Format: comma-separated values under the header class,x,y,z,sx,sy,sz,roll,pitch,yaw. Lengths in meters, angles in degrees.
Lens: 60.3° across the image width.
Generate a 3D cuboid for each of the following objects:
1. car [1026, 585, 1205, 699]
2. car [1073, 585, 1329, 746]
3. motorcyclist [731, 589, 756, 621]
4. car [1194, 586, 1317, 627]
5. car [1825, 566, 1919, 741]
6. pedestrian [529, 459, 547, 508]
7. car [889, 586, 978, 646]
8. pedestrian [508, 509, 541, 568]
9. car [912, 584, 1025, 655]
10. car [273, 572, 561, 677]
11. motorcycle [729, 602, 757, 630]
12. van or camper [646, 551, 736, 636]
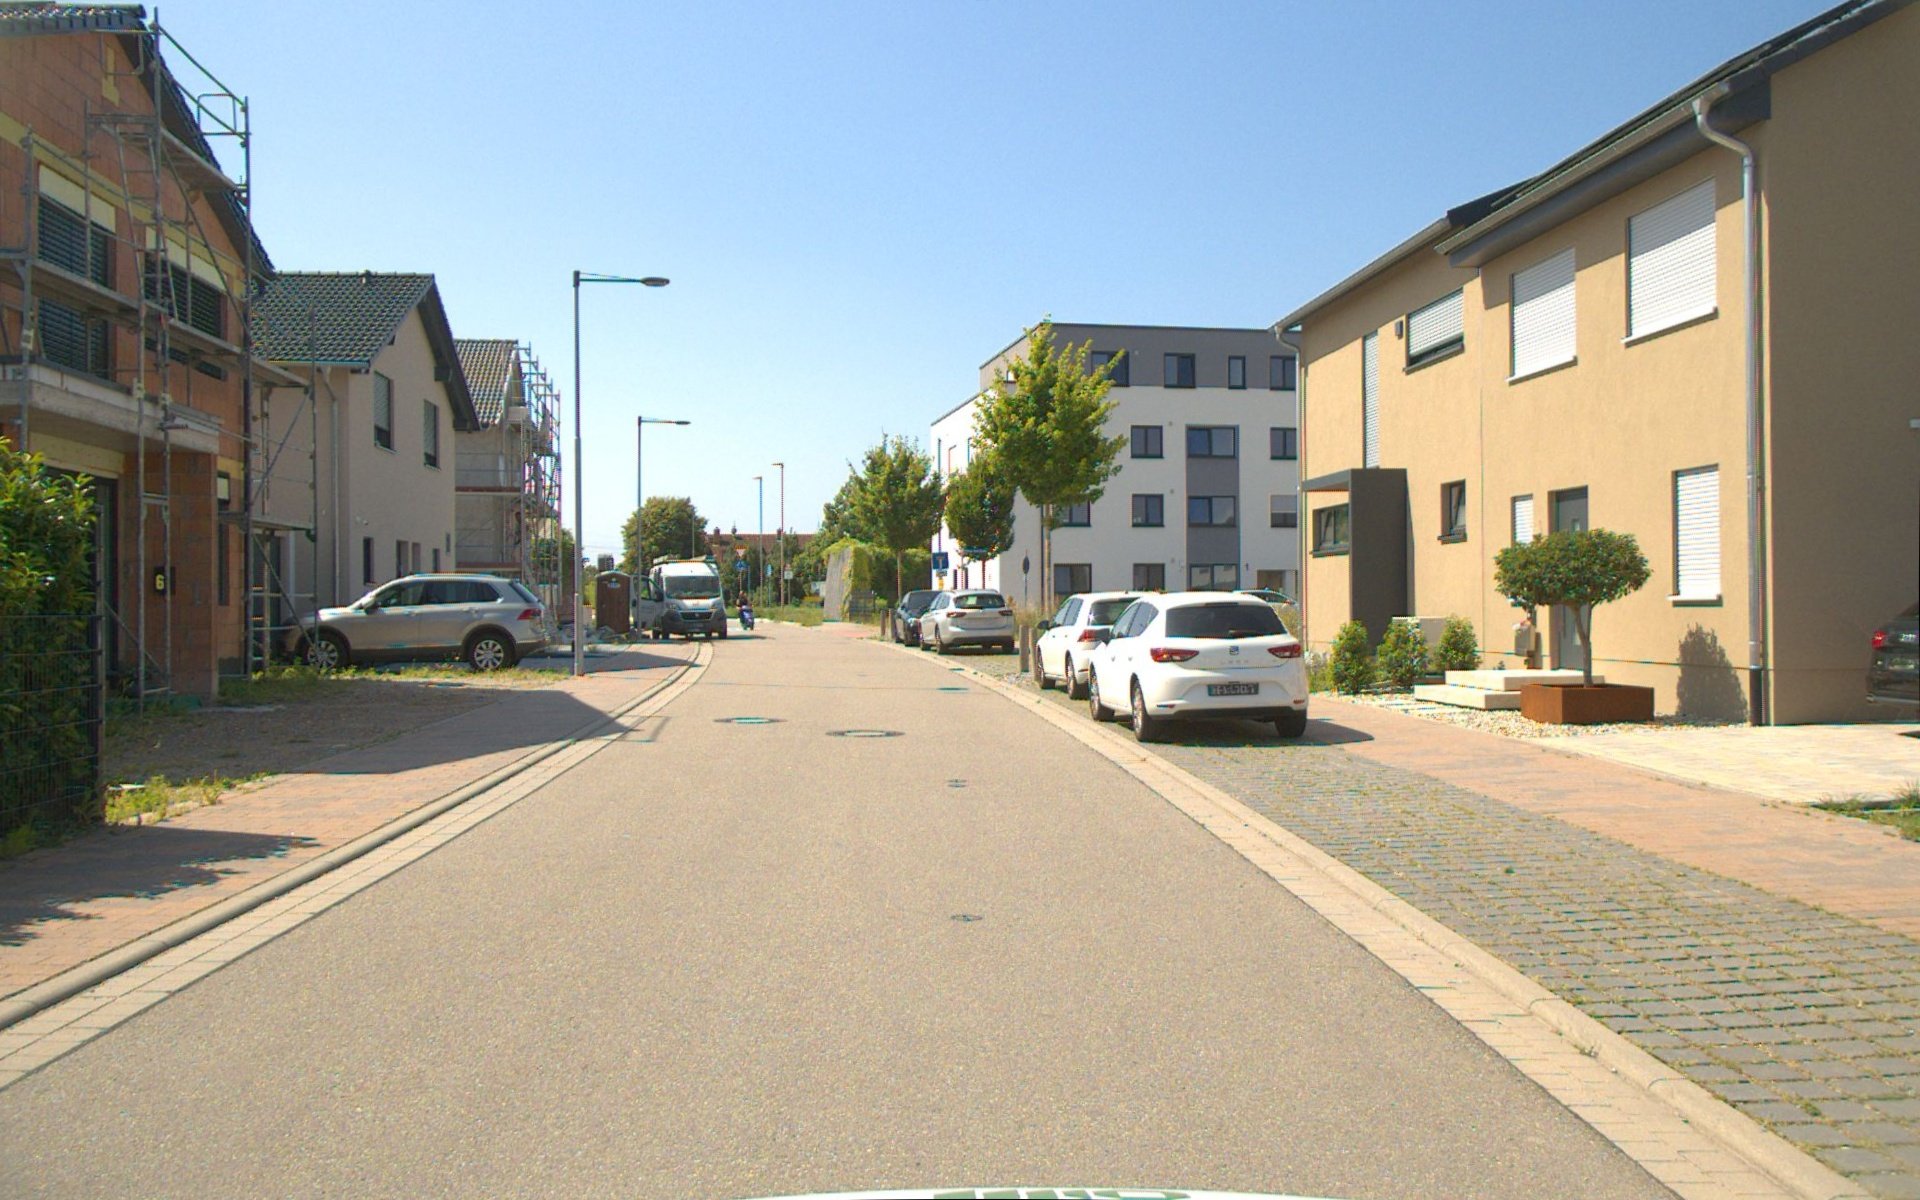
class,x,y,z,sx,sy,sz,roll,pitch,yaw
car,2.194,0.544,24.497,1.745,1.450,4.508,-2,1,-6
car,2.482,0.622,18.174,1.779,1.481,4.560,-2,0,-5
motorcyclist,-8.712,0.207,66.535,0.908,1.244,0.801,-1,1,-13
car,10.937,0.252,61.377,4.084,1.461,1.877,-1,-1,-11
car,10.445,0.344,14.404,4.791,1.450,1.999,-3,0,-3
pedestrian,-13.725,-3.777,53.758,0.552,1.526,0.745,-1,-2,-15
car,-0.814,0.402,46.316,1.882,1.495,5.131,-2,1,-7
pedestrian,-12.916,-1.814,49.075,0.567,1.709,0.745,-3,-3,38
car,0.122,0.417,40.331,1.883,1.537,5.284,-2,1,-9
car,-9.111,0.388,28.117,4.343,1.640,1.996,-1,0,-9
motorcycle,-8.836,0.629,67.172,0.939,1.053,2.429,0,2,-12
van or camper,-8.892,-0.163,54.205,2.235,2.598,6.341,-1,0,-15
